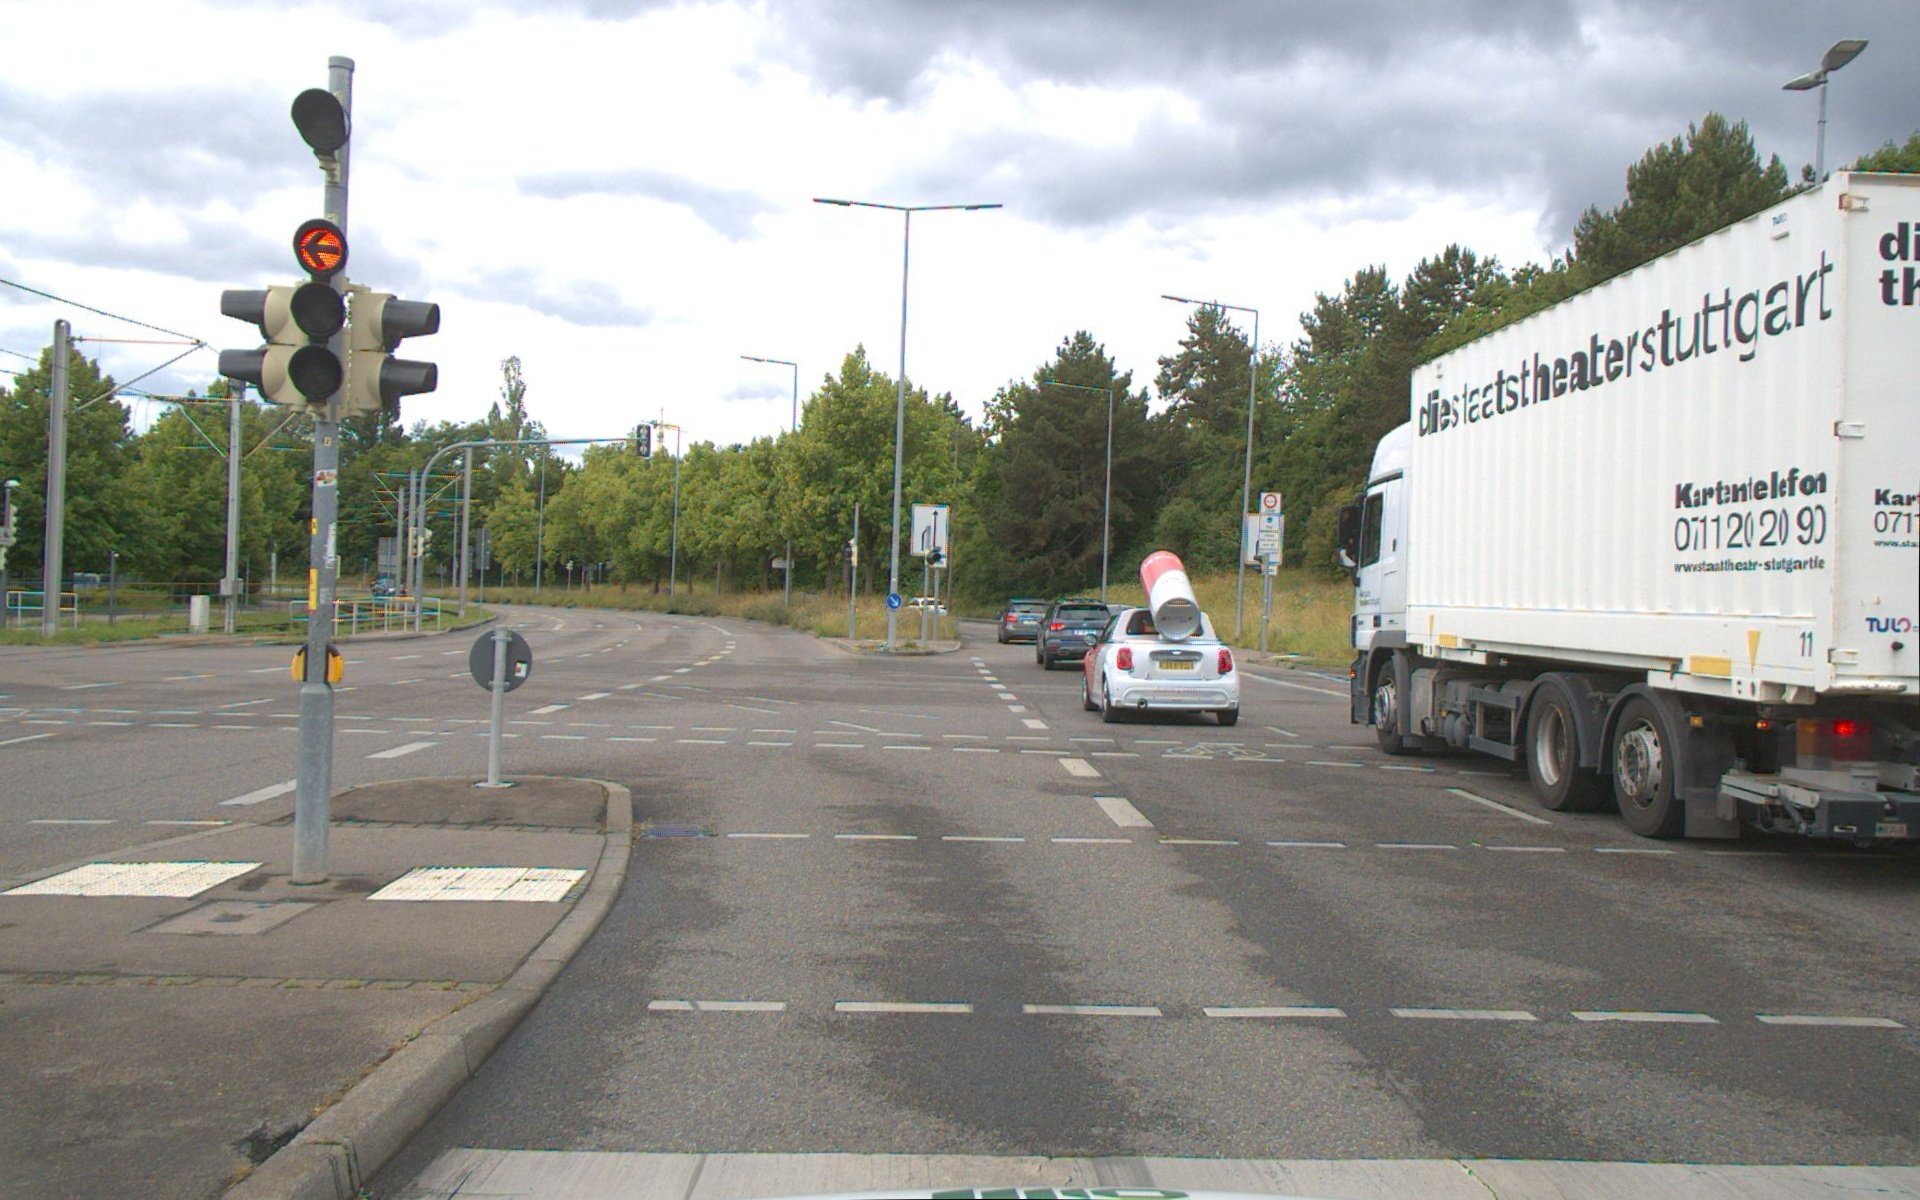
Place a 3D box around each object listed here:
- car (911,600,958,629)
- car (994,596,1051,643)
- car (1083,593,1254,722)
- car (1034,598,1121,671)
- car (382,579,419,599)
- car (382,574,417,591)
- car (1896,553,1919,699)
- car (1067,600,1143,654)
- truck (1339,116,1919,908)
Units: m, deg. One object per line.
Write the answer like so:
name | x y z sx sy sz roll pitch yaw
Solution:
car | -1.431 0.795 91.271 1.811 1.533 4.518 1 0 -11
car | 2.121 0.644 57.397 1.711 1.534 4.047 1 0 -1
car | 2.659 0.708 21.762 1.784 1.532 3.494 1 0 0
car | 2.609 0.738 37.571 1.591 1.519 3.836 1 0 -2
car | -47.378 -0.935 140.086 1.782 1.615 3.946 1 -1 -38
car | -55.950 -1.770 165.037 3.821 1.631 1.778 1 -1 44
car | 20.439 0.532 30.071 5.685 2.676 2.000 1 -1 1
car | 4.060 0.729 46.876 1.711 1.407 4.290 1 0 -1
truck | 5.701 -0.473 13.428 2.746 3.971 10.180 1 1 -1
